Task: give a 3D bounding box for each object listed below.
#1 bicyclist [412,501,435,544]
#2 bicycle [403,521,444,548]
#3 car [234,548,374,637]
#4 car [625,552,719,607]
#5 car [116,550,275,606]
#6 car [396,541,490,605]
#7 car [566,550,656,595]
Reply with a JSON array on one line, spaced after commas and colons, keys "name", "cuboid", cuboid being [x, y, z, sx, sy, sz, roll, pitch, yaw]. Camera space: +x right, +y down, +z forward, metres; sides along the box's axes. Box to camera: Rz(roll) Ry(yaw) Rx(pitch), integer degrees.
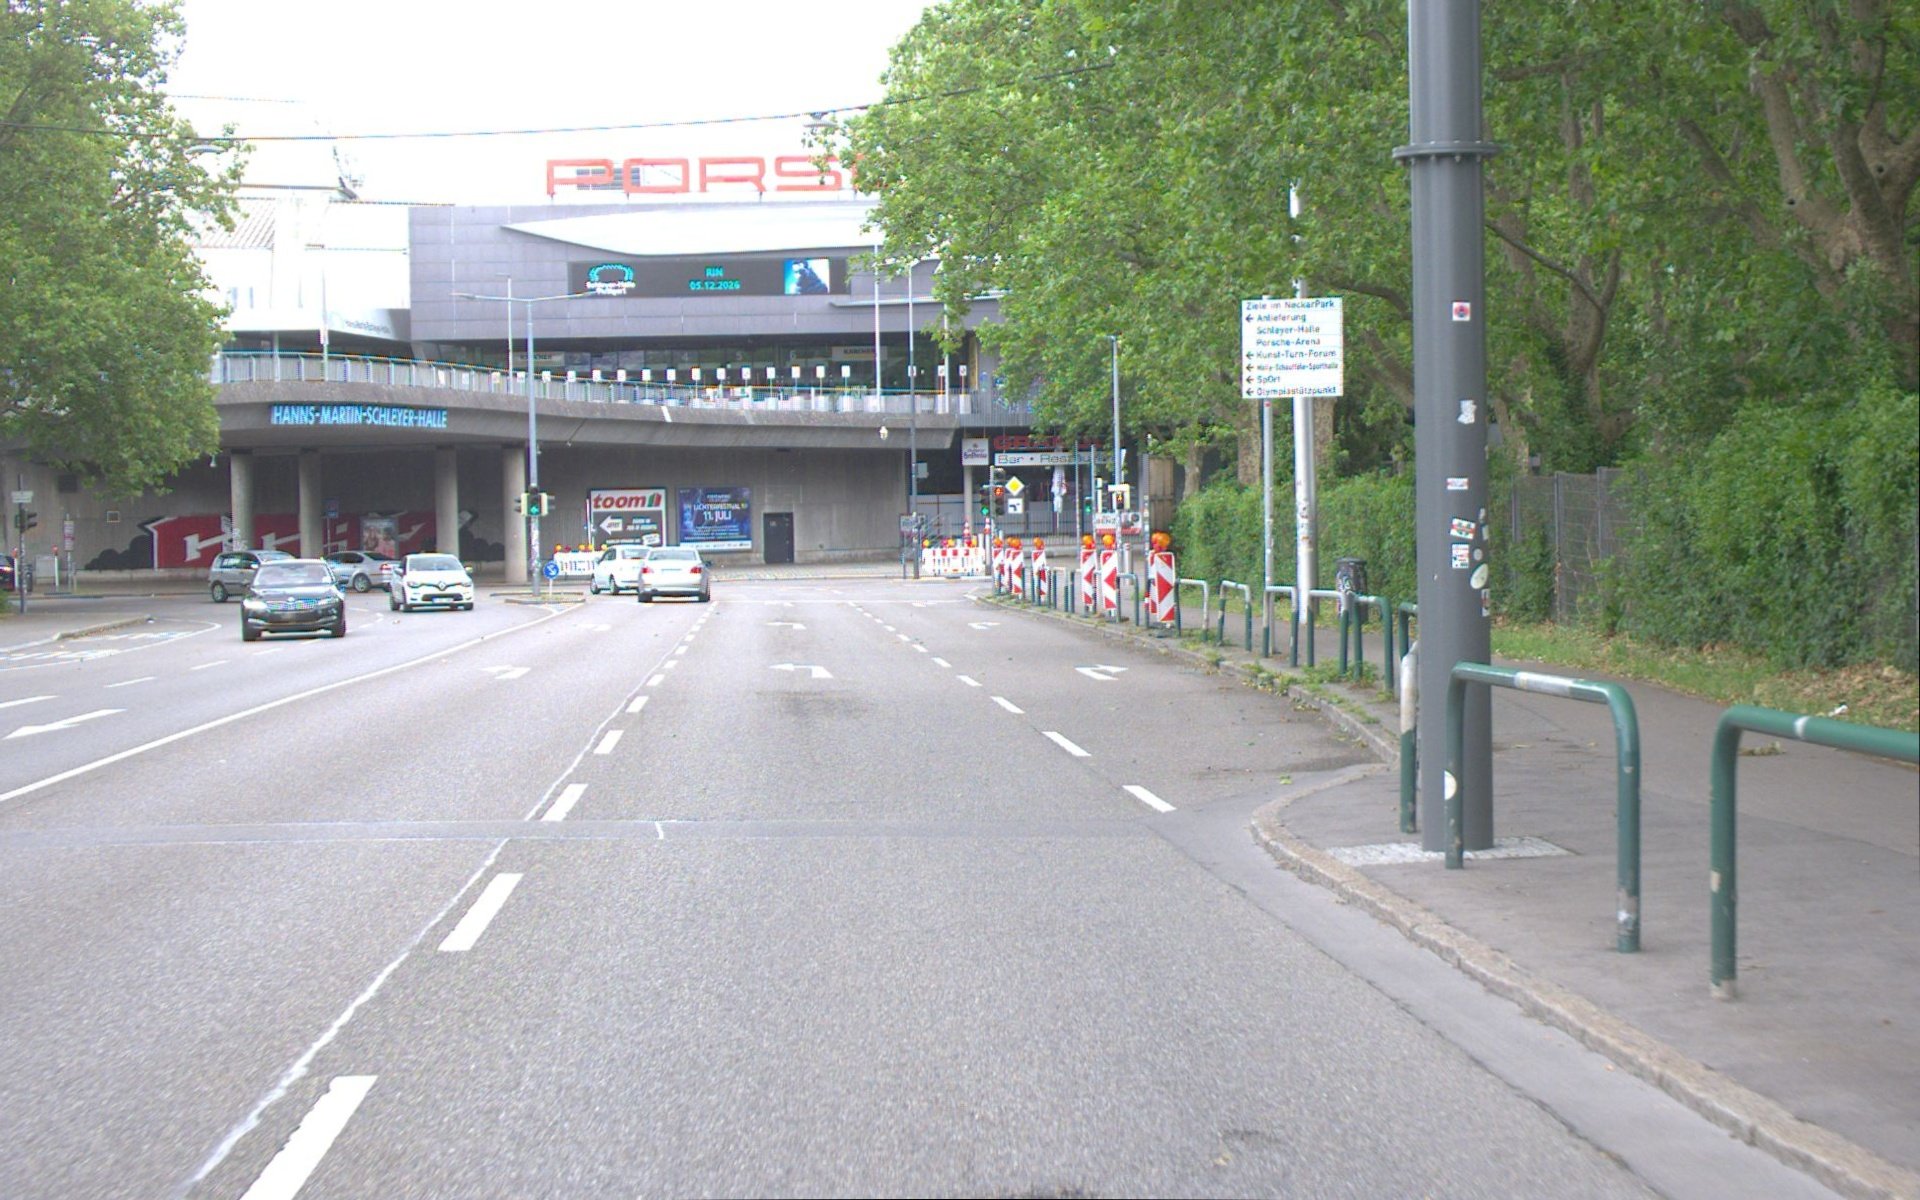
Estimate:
[{"name": "bicyclist", "cuboid": [-20.944, -3.021, 134.195, 0.851, 1.692, 0.767, 1, 0, -6]}, {"name": "bicycle", "cuboid": [-20.944, -2.564, 134.194, 1.532, 1.009, 0.517, 1, 0, -6]}, {"name": "car", "cuboid": [-12.113, -0.170, 63.724, 1.993, 1.525, 4.727, -2, 1, -4]}, {"name": "car", "cuboid": [-7.618, -0.554, 90.664, 1.993, 1.414, 4.001, -1, 1, -12]}, {"name": "car", "cuboid": [-22.683, -0.669, 102.127, 4.370, 1.525, 2.000, -2, 1, -6]}, {"name": "car", "cuboid": [-13.041, -0.693, 86.879, 1.993, 1.525, 4.386, -2, 1, -4]}, {"name": "car", "cuboid": [-10.406, -0.841, 102.367, 1.610, 1.308, 3.396, -1, 1, -26]}]
